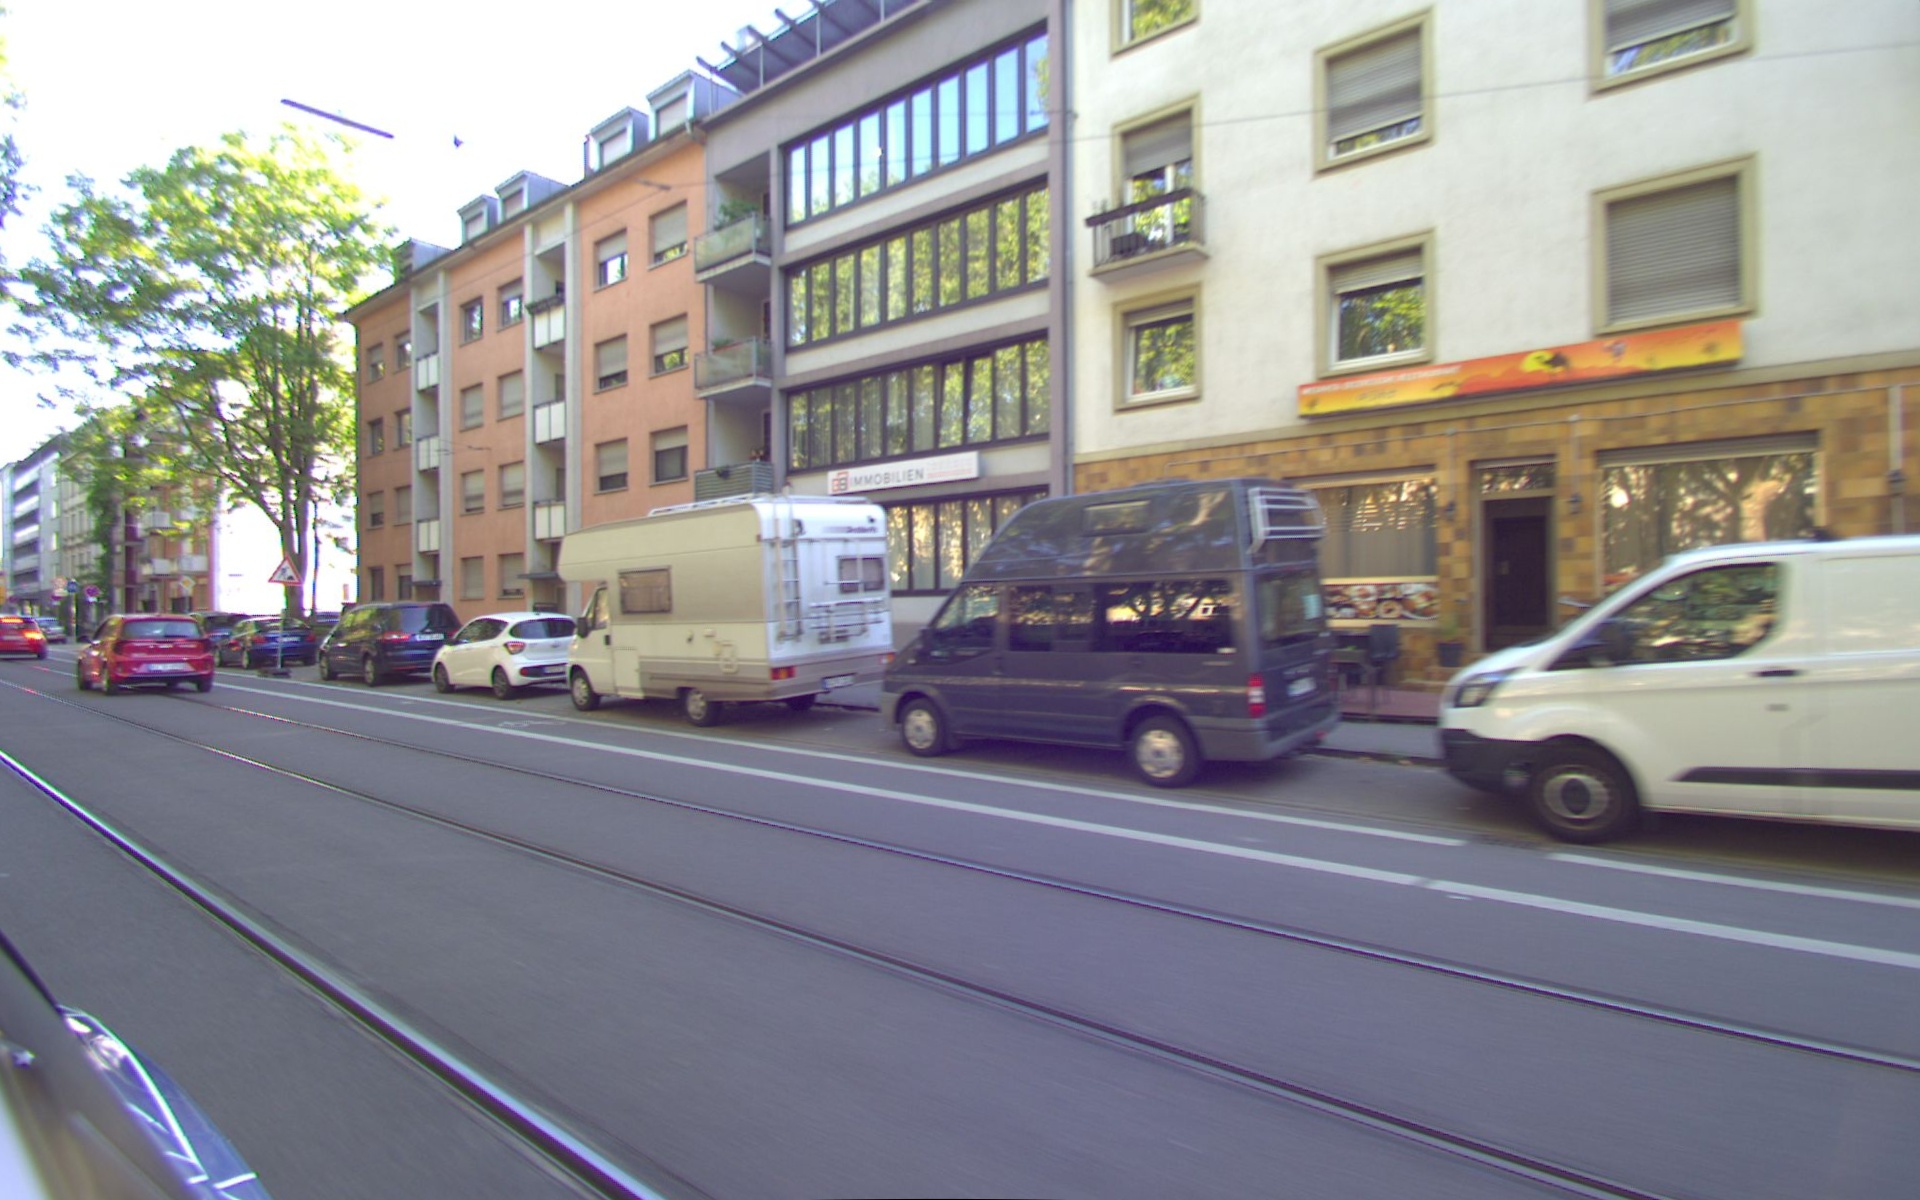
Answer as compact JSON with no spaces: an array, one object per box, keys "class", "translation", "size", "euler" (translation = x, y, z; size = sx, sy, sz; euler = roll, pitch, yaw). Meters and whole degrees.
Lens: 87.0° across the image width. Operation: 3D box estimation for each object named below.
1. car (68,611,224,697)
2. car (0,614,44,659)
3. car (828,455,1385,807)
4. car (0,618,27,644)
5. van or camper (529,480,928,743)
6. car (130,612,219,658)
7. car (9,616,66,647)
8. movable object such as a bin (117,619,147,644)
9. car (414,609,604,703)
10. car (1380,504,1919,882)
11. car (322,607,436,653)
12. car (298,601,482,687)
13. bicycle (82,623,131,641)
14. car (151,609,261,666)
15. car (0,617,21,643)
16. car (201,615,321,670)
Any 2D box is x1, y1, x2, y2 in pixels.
[{"class":"car","translation":[-15.782,0.978,19.560],"size":[3.948,1.490,1.646],"euler":[-1,-2,41]},{"class":"car","translation":[-32.380,1.205,34.125],"size":[4.066,1.448,1.705],"euler":[-1,-1,41]},{"class":"car","translation":[1.263,0.241,10.403],"size":[5.305,2.752,2.066],"euler":[-1,2,40]},{"class":"car","translation":[-60.961,1.970,64.665],"size":[3.780,1.583,1.609],"euler":[-1,1,42]},{"class":"van or camper","translation":[-3.627,0.125,14.787],"size":[6.395,3.063,2.313],"euler":[-1,2,42]},{"class":"car","translation":[-28.095,1.206,36.164],"size":[4.088,1.489,1.787],"euler":[-1,1,42]},{"class":"car","translation":[-49.536,1.672,54.319],"size":[3.927,1.494,1.708],"euler":[-1,1,40]},{"class":"movable object such as a bin","translation":[-47.166,1.774,57.637],"size":[0.747,1.375,1.198],"euler":[-1,-2,42]},{"class":"car","translation":[-8.513,0.975,18.973],"size":[3.858,1.499,1.693],"euler":[-1,2,40]},{"class":"car","translation":[5.753,0.482,6.530],"size":[5.242,2.107,1.934],"euler":[-2,1,39]},{"class":"car","translation":[-28.015,1.429,48.813],"size":[4.675,2.139,1.992],"euler":[0,0,13]},{"class":"car","translation":[-12.839,0.922,22.653],"size":[5.066,1.699,1.933],"euler":[-1,0,40]},{"class":"bicycle","translation":[-56.827,2.148,67.412],"size":[0.698,1.070,2.428],"euler":[-1,1,37]},{"class":"car","translation":[-24.213,1.160,32.432],"size":[4.584,1.622,1.763],"euler":[-1,2,40]},{"class":"car","translation":[-65.085,1.992,68.242],"size":[4.877,1.661,1.933],"euler":[-1,1,40]},{"class":"car","translation":[-20.168,1.175,29.141],"size":[4.379,1.411,1.721],"euler":[-1,1,40]}]
